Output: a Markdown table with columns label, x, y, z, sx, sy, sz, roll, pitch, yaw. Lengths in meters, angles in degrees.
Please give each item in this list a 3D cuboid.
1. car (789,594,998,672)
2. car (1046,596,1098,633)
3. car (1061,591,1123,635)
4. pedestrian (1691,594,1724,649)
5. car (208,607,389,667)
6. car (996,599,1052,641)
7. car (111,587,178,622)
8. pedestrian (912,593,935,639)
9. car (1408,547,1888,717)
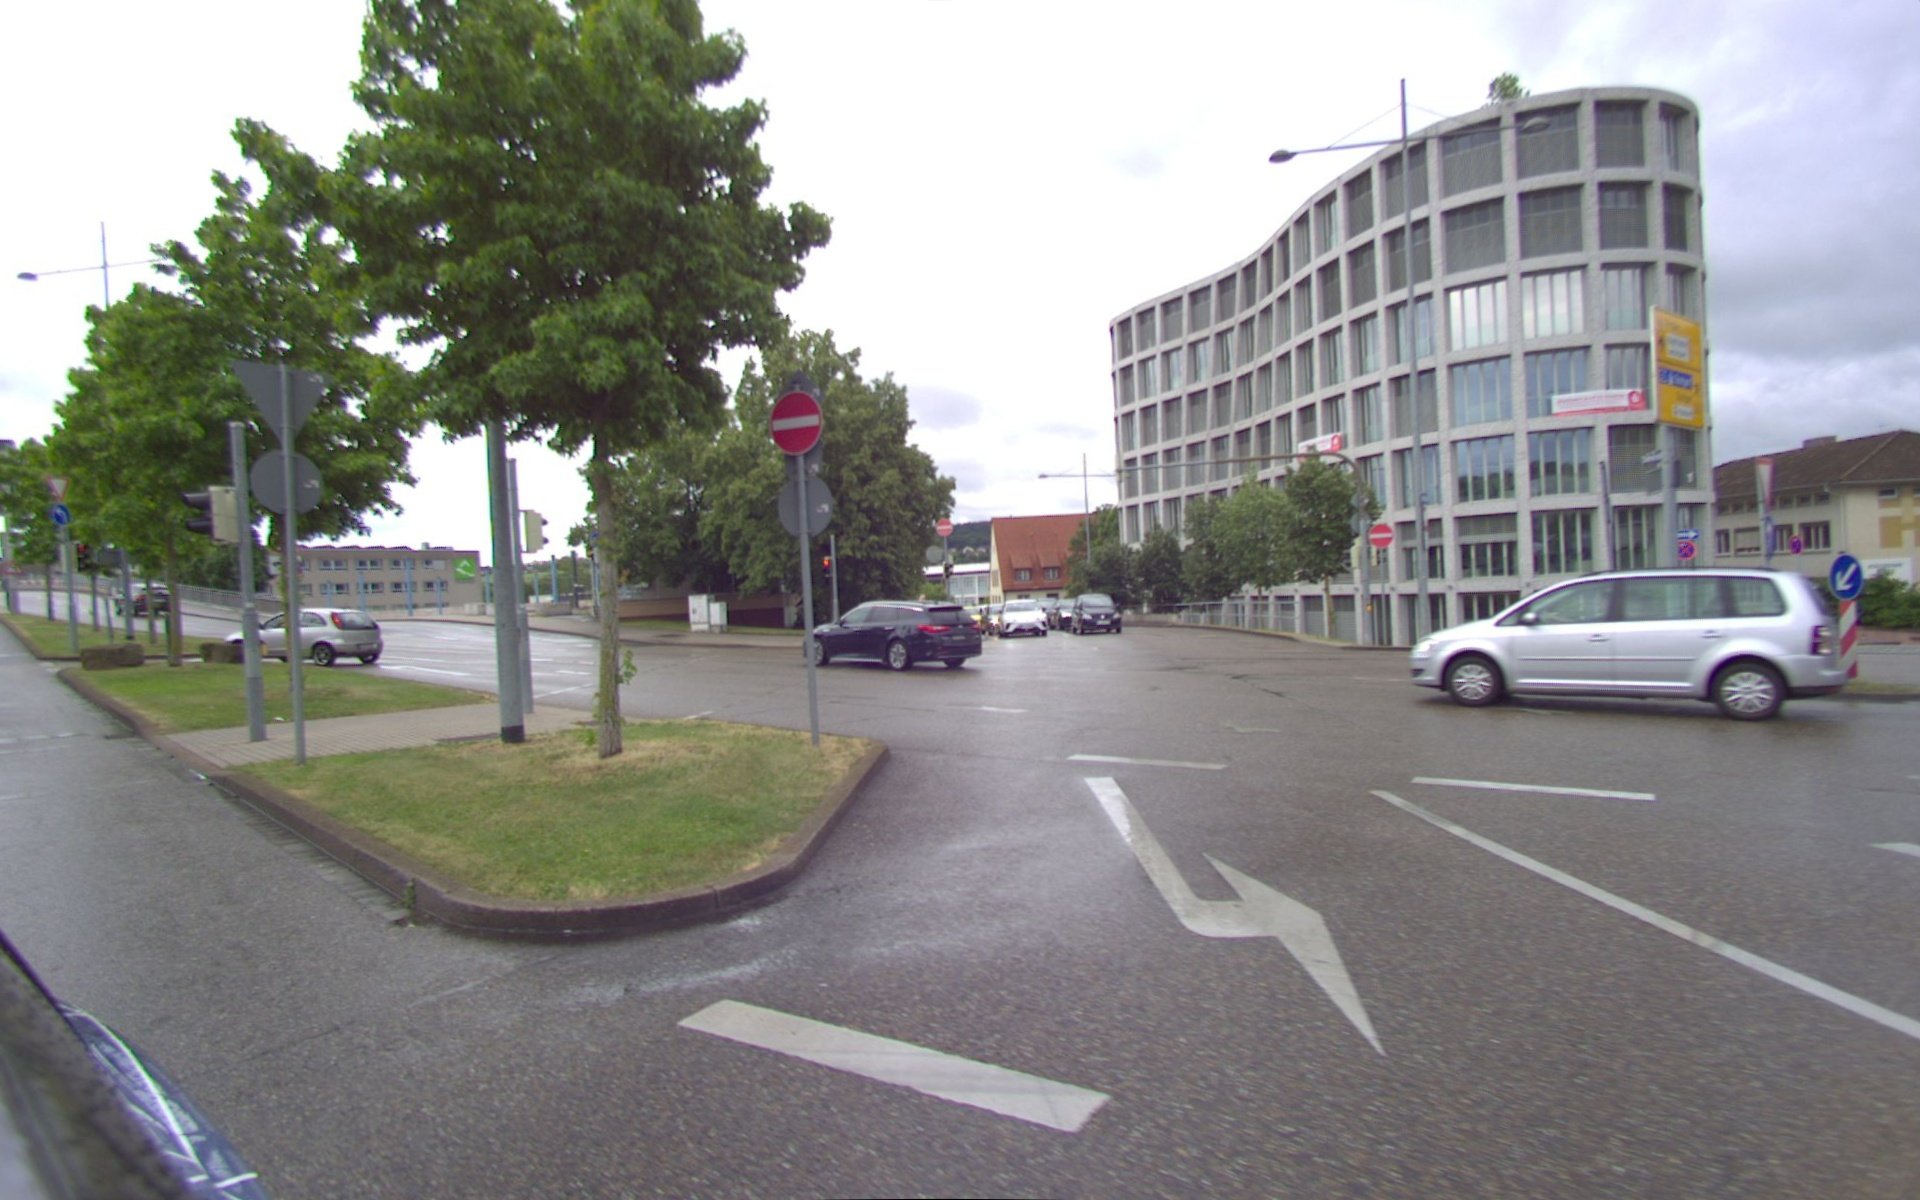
| label | x | y | z | sx | sy | sz | roll | pitch | yaw |
| --- | --- | --- | --- | --- | --- | --- | --- | --- | --- |
| car | -1.582 | 0.703 | 22.383 | 1.826 | 1.515 | 4.923 | -2 | 0 | -44 |
| car | 5.065 | 0.641 | 46.144 | 1.703 | 1.579 | 3.841 | -2 | 0 | -3 |
| car | 5.159 | 0.494 | 39.903 | 1.703 | 1.579 | 3.841 | -2 | 0 | -3 |
| pedestrian | 22.594 | 0.642 | 30.583 | 0.705 | 1.595 | 0.664 | -1 | 1 | 42 |
| car | -16.843 | 0.935 | 25.823 | 3.835 | 1.459 | 1.631 | -1 | 0 | 11 |
| car | 2.570 | 0.781 | 41.584 | 1.860 | 1.579 | 4.142 | -2 | 0 | -1 |
| car | -42.812 | 0.195 | 53.096 | 4.856 | 1.674 | 1.888 | 2 | 3 | 41 |
| pedestrian | -1.284 | 0.549 | 35.553 | 0.642 | 1.582 | 0.633 | 1 | 0 | -16 |
| car | 7.929 | 0.345 | 12.019 | 4.415 | 1.665 | 1.828 | -2 | 0 | 40 |
